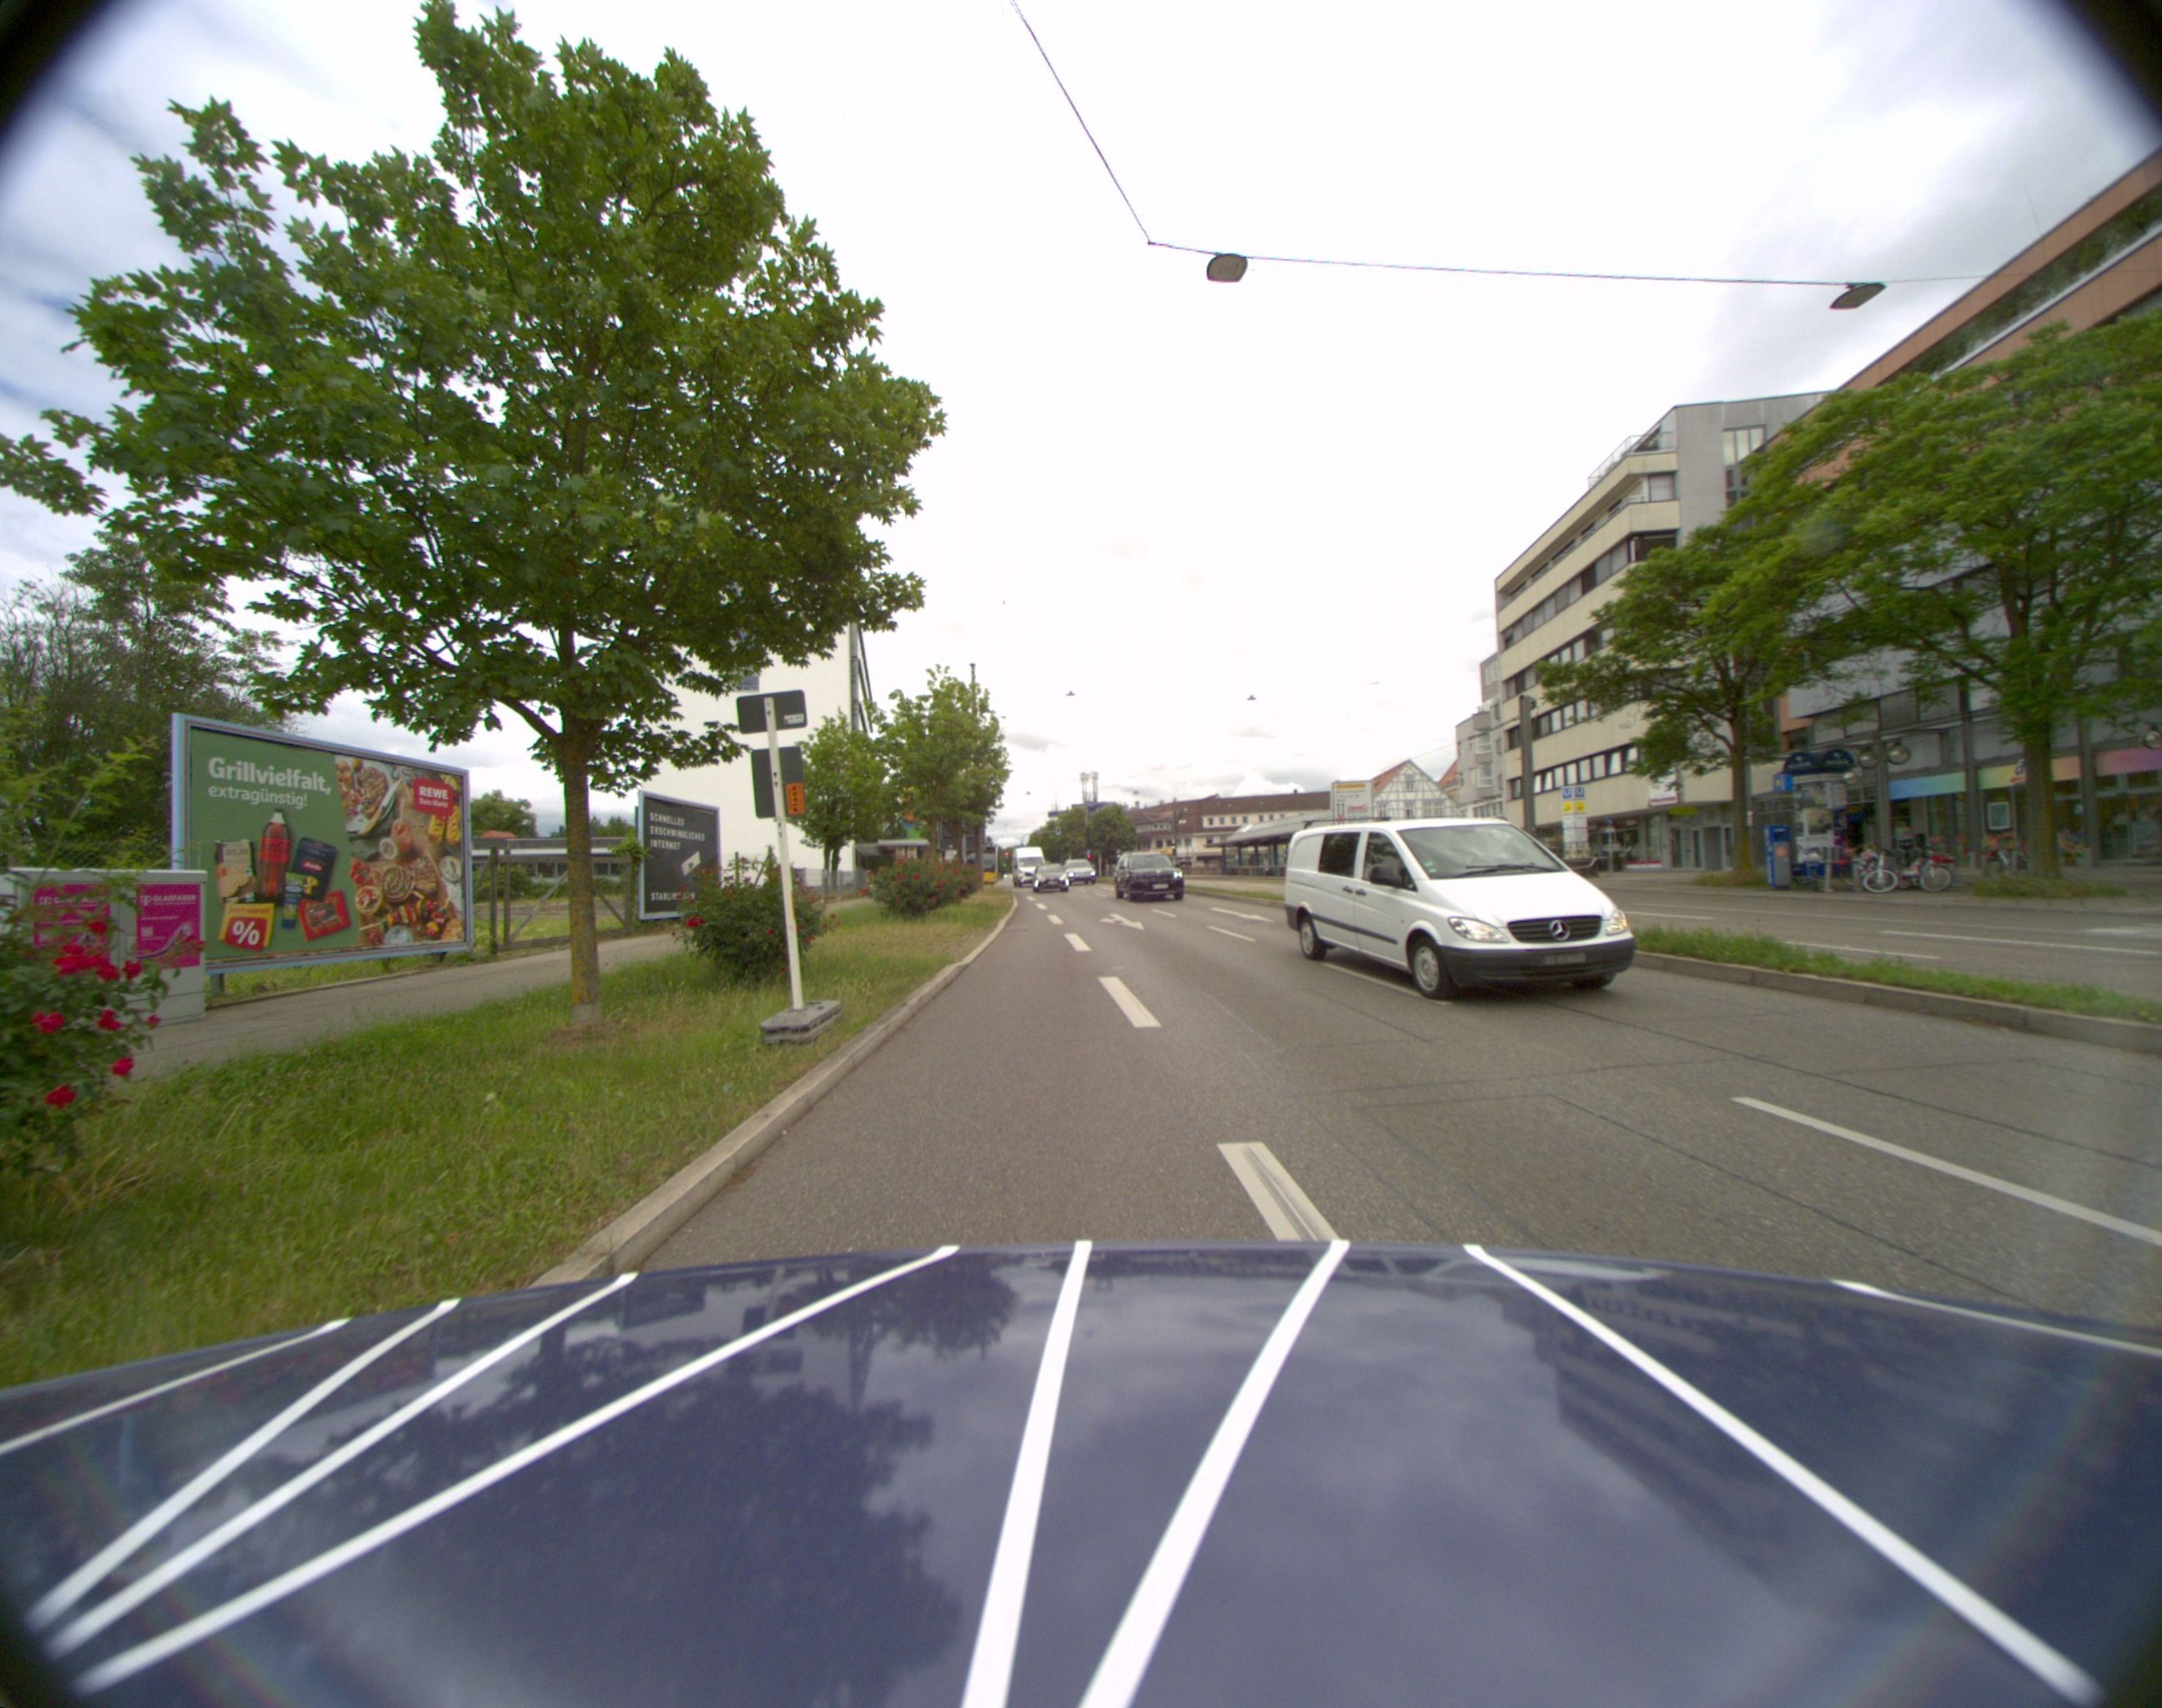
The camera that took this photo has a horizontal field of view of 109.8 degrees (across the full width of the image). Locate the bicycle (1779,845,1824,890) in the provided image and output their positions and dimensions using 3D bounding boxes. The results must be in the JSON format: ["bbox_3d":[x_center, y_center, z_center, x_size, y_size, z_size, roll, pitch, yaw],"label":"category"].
[{"bbox_3d":[20.775,0.380,21.938,0.625,1.246,1.687,-2,0,33],"label":"bicycle"}]

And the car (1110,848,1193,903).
[{"bbox_3d":[2.460,0.738,27.790,1.928,1.741,4.675,-3,0,-8],"label":"car"}]

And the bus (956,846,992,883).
[{"bbox_3d":[-9.664,0.985,68.032,2.722,3.089,8.863,1,-2,-11],"label":"bus"}]

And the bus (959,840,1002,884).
[{"bbox_3d":[-7.935,0.701,59.195,2.722,3.144,9.120,1,-2,-11],"label":"bus"}]

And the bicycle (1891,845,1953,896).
[{"bbox_3d":[21.376,0.404,19.339,0.625,1.246,1.687,-1,0,32],"label":"bicycle"}]

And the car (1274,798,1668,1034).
[{"bbox_3d":[4.145,0.544,9.312,1.879,2.002,5.074,-3,0,-4],"label":"car"}]

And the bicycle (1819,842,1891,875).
[{"bbox_3d":[32.015,0.186,31.465,1.970,1.311,0.706,-1,0,16],"label":"bicycle"}]

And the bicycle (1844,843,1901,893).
[{"bbox_3d":[20.526,0.354,19.730,0.625,1.246,1.687,-1,0,32],"label":"bicycle"}]

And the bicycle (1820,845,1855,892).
[{"bbox_3d":[21.016,0.384,21.133,0.431,1.246,1.473,-1,0,35],"label":"bicycle"}]

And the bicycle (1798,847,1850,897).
[{"bbox_3d":[19.504,0.463,19.968,0.625,1.246,1.687,-1,0,32],"label":"bicycle"}]

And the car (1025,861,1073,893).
[{"bbox_3d":[-1.697,1.173,39.455,1.865,1.516,3.997,-1,-1,-11],"label":"car"}]

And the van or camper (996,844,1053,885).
[{"bbox_3d":[-4.075,0.804,53.585,2.283,2.690,6.986,-1,-1,-19],"label":"van or camper"}]

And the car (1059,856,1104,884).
[{"bbox_3d":[-0.027,1.034,50.137,2.000,1.640,4.389,-3,0,-13],"label":"car"}]
